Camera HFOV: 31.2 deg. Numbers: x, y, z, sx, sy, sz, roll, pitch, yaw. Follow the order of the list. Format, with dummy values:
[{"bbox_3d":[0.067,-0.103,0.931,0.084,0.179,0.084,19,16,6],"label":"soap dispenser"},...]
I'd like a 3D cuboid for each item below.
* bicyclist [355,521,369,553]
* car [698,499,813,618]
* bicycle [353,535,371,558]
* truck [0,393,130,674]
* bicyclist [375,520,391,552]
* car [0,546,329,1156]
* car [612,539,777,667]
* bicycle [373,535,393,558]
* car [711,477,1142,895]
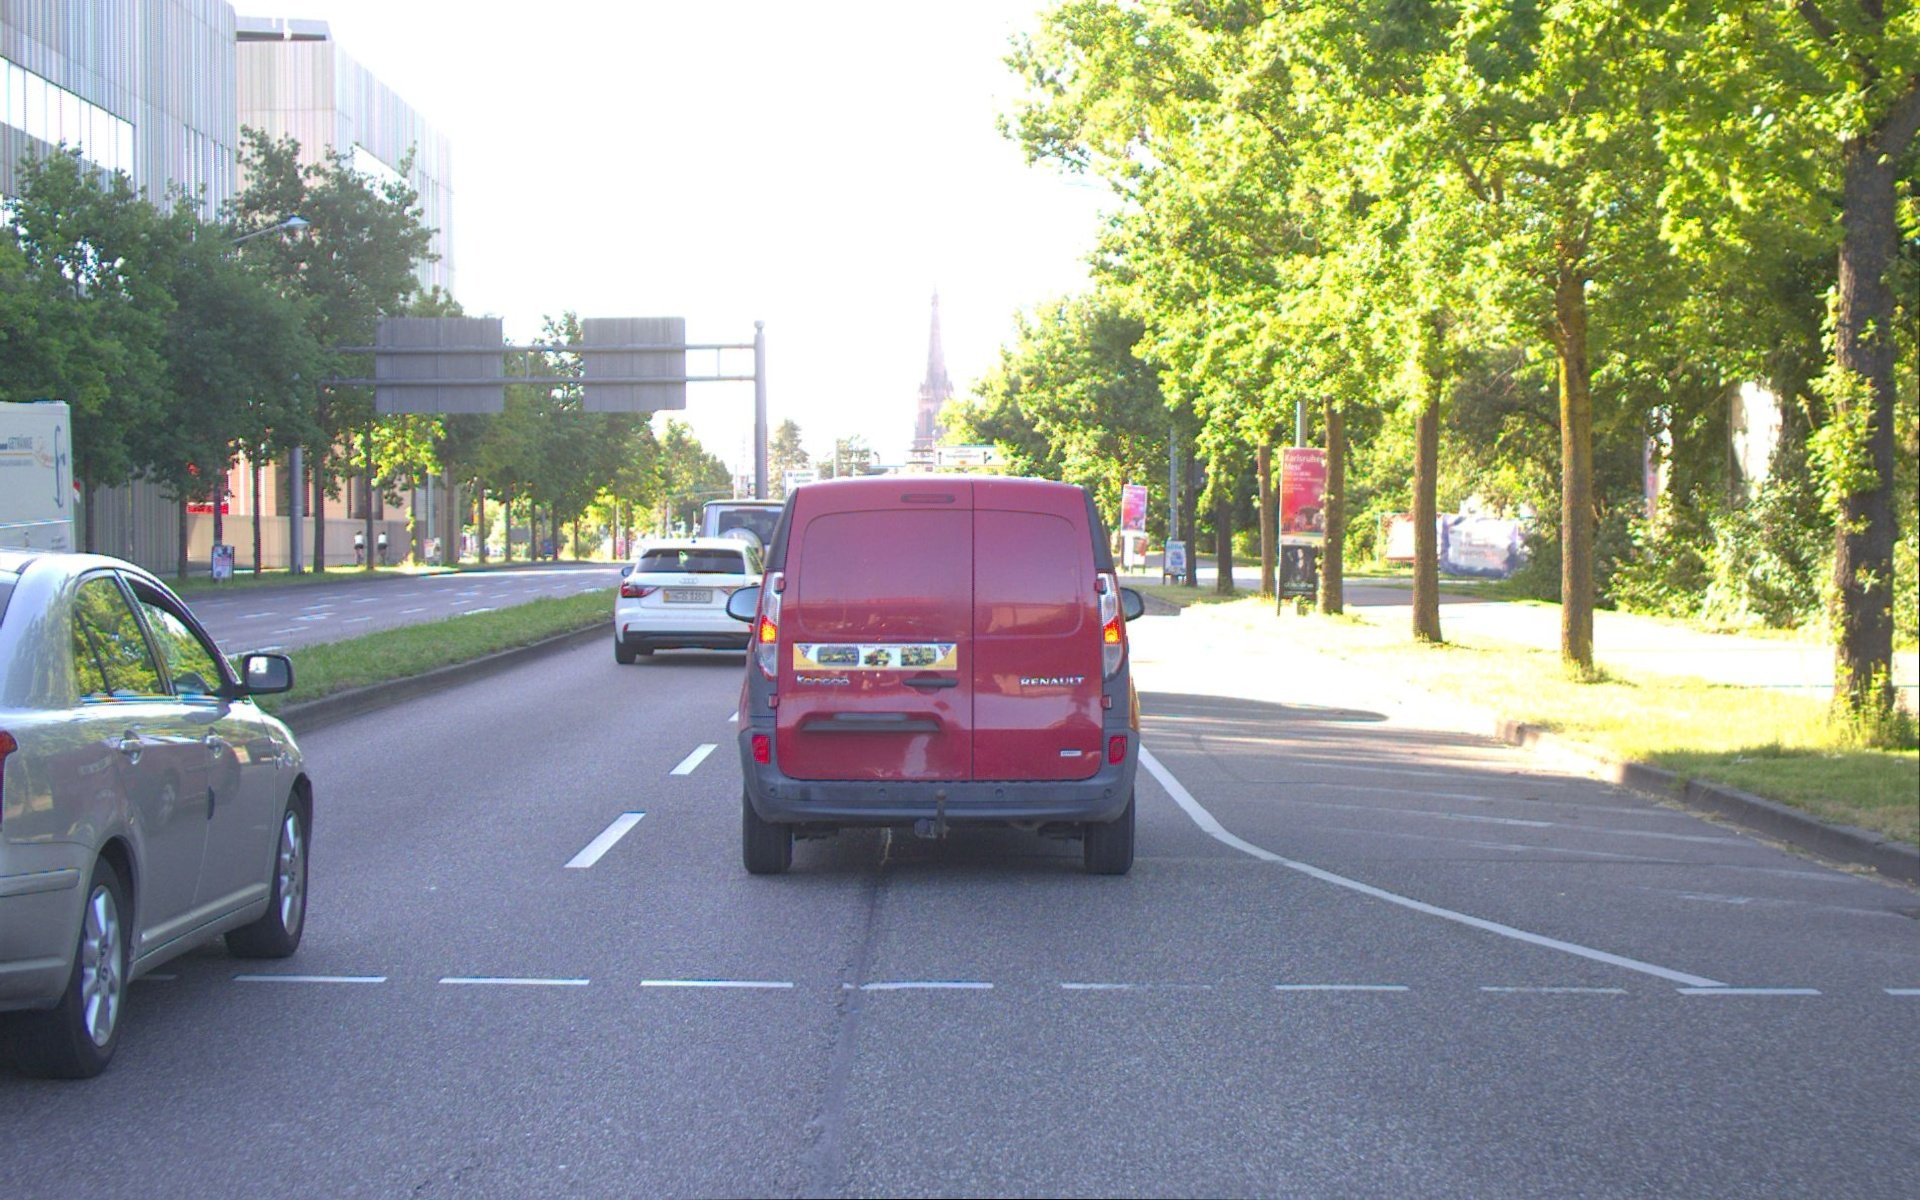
[{"bbox_3d":[-26.272,-2.760,150.970,0.482,1.390,0.844,0,0,-1],"label":"bicyclist"},{"bbox_3d":[-3.274,-0.686,55.538,1.661,1.850,3.559,0,1,-1],"label":"car"},{"bbox_3d":[-26.267,-2.336,151.030,0.487,1.000,2.096,0,1,-1],"label":"bicycle"},{"bbox_3d":[-11.388,-0.687,37.742,2.686,2.950,7.114,-2,1,0],"label":"truck"},{"bbox_3d":[-25.273,-2.810,150.557,0.562,1.387,0.747,0,0,-1],"label":"bicyclist"},{"bbox_3d":[-3.222,0.574,10.435,1.841,1.451,4.162,1,1,0],"label":"car"},{"bbox_3d":[-3.034,0.001,39.802,1.661,1.393,3.559,0,1,-1],"label":"car"},{"bbox_3d":[-25.268,-2.341,150.602,0.570,1.000,2.096,0,1,-1],"label":"bicycle"},{"bbox_3d":[-0.166,0.327,16.588,1.806,1.753,4.006,1,1,-1],"label":"car"}]
